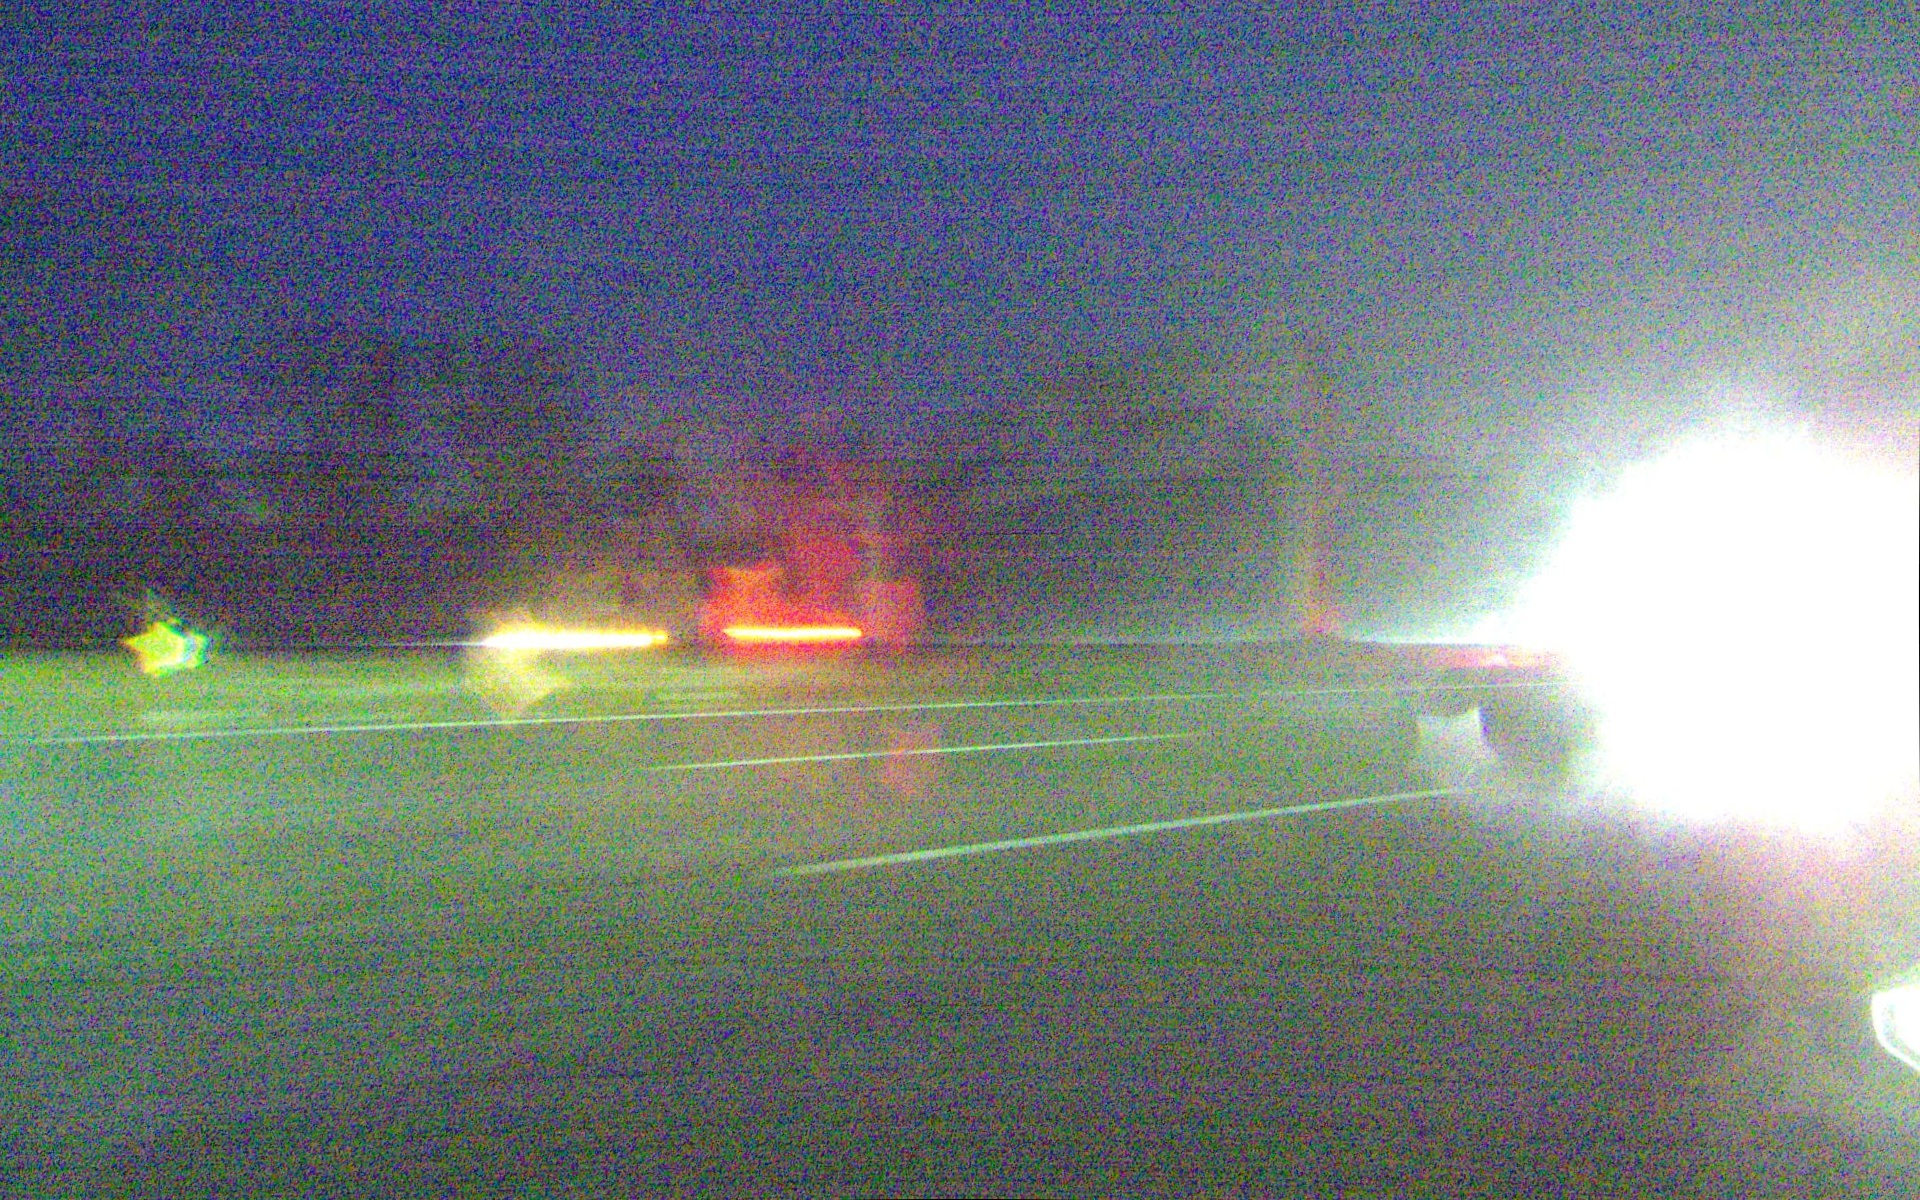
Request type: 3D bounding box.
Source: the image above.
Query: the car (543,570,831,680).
[{"bbox_3d":[-5.169,0.494,19.280,5.004,1.868,1.870,2,0,-32],"label":"car"}]

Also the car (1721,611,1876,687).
[{"bbox_3d":[20.047,1.128,23.974,3.963,1.617,1.979,2,0,-37],"label":"car"}]
